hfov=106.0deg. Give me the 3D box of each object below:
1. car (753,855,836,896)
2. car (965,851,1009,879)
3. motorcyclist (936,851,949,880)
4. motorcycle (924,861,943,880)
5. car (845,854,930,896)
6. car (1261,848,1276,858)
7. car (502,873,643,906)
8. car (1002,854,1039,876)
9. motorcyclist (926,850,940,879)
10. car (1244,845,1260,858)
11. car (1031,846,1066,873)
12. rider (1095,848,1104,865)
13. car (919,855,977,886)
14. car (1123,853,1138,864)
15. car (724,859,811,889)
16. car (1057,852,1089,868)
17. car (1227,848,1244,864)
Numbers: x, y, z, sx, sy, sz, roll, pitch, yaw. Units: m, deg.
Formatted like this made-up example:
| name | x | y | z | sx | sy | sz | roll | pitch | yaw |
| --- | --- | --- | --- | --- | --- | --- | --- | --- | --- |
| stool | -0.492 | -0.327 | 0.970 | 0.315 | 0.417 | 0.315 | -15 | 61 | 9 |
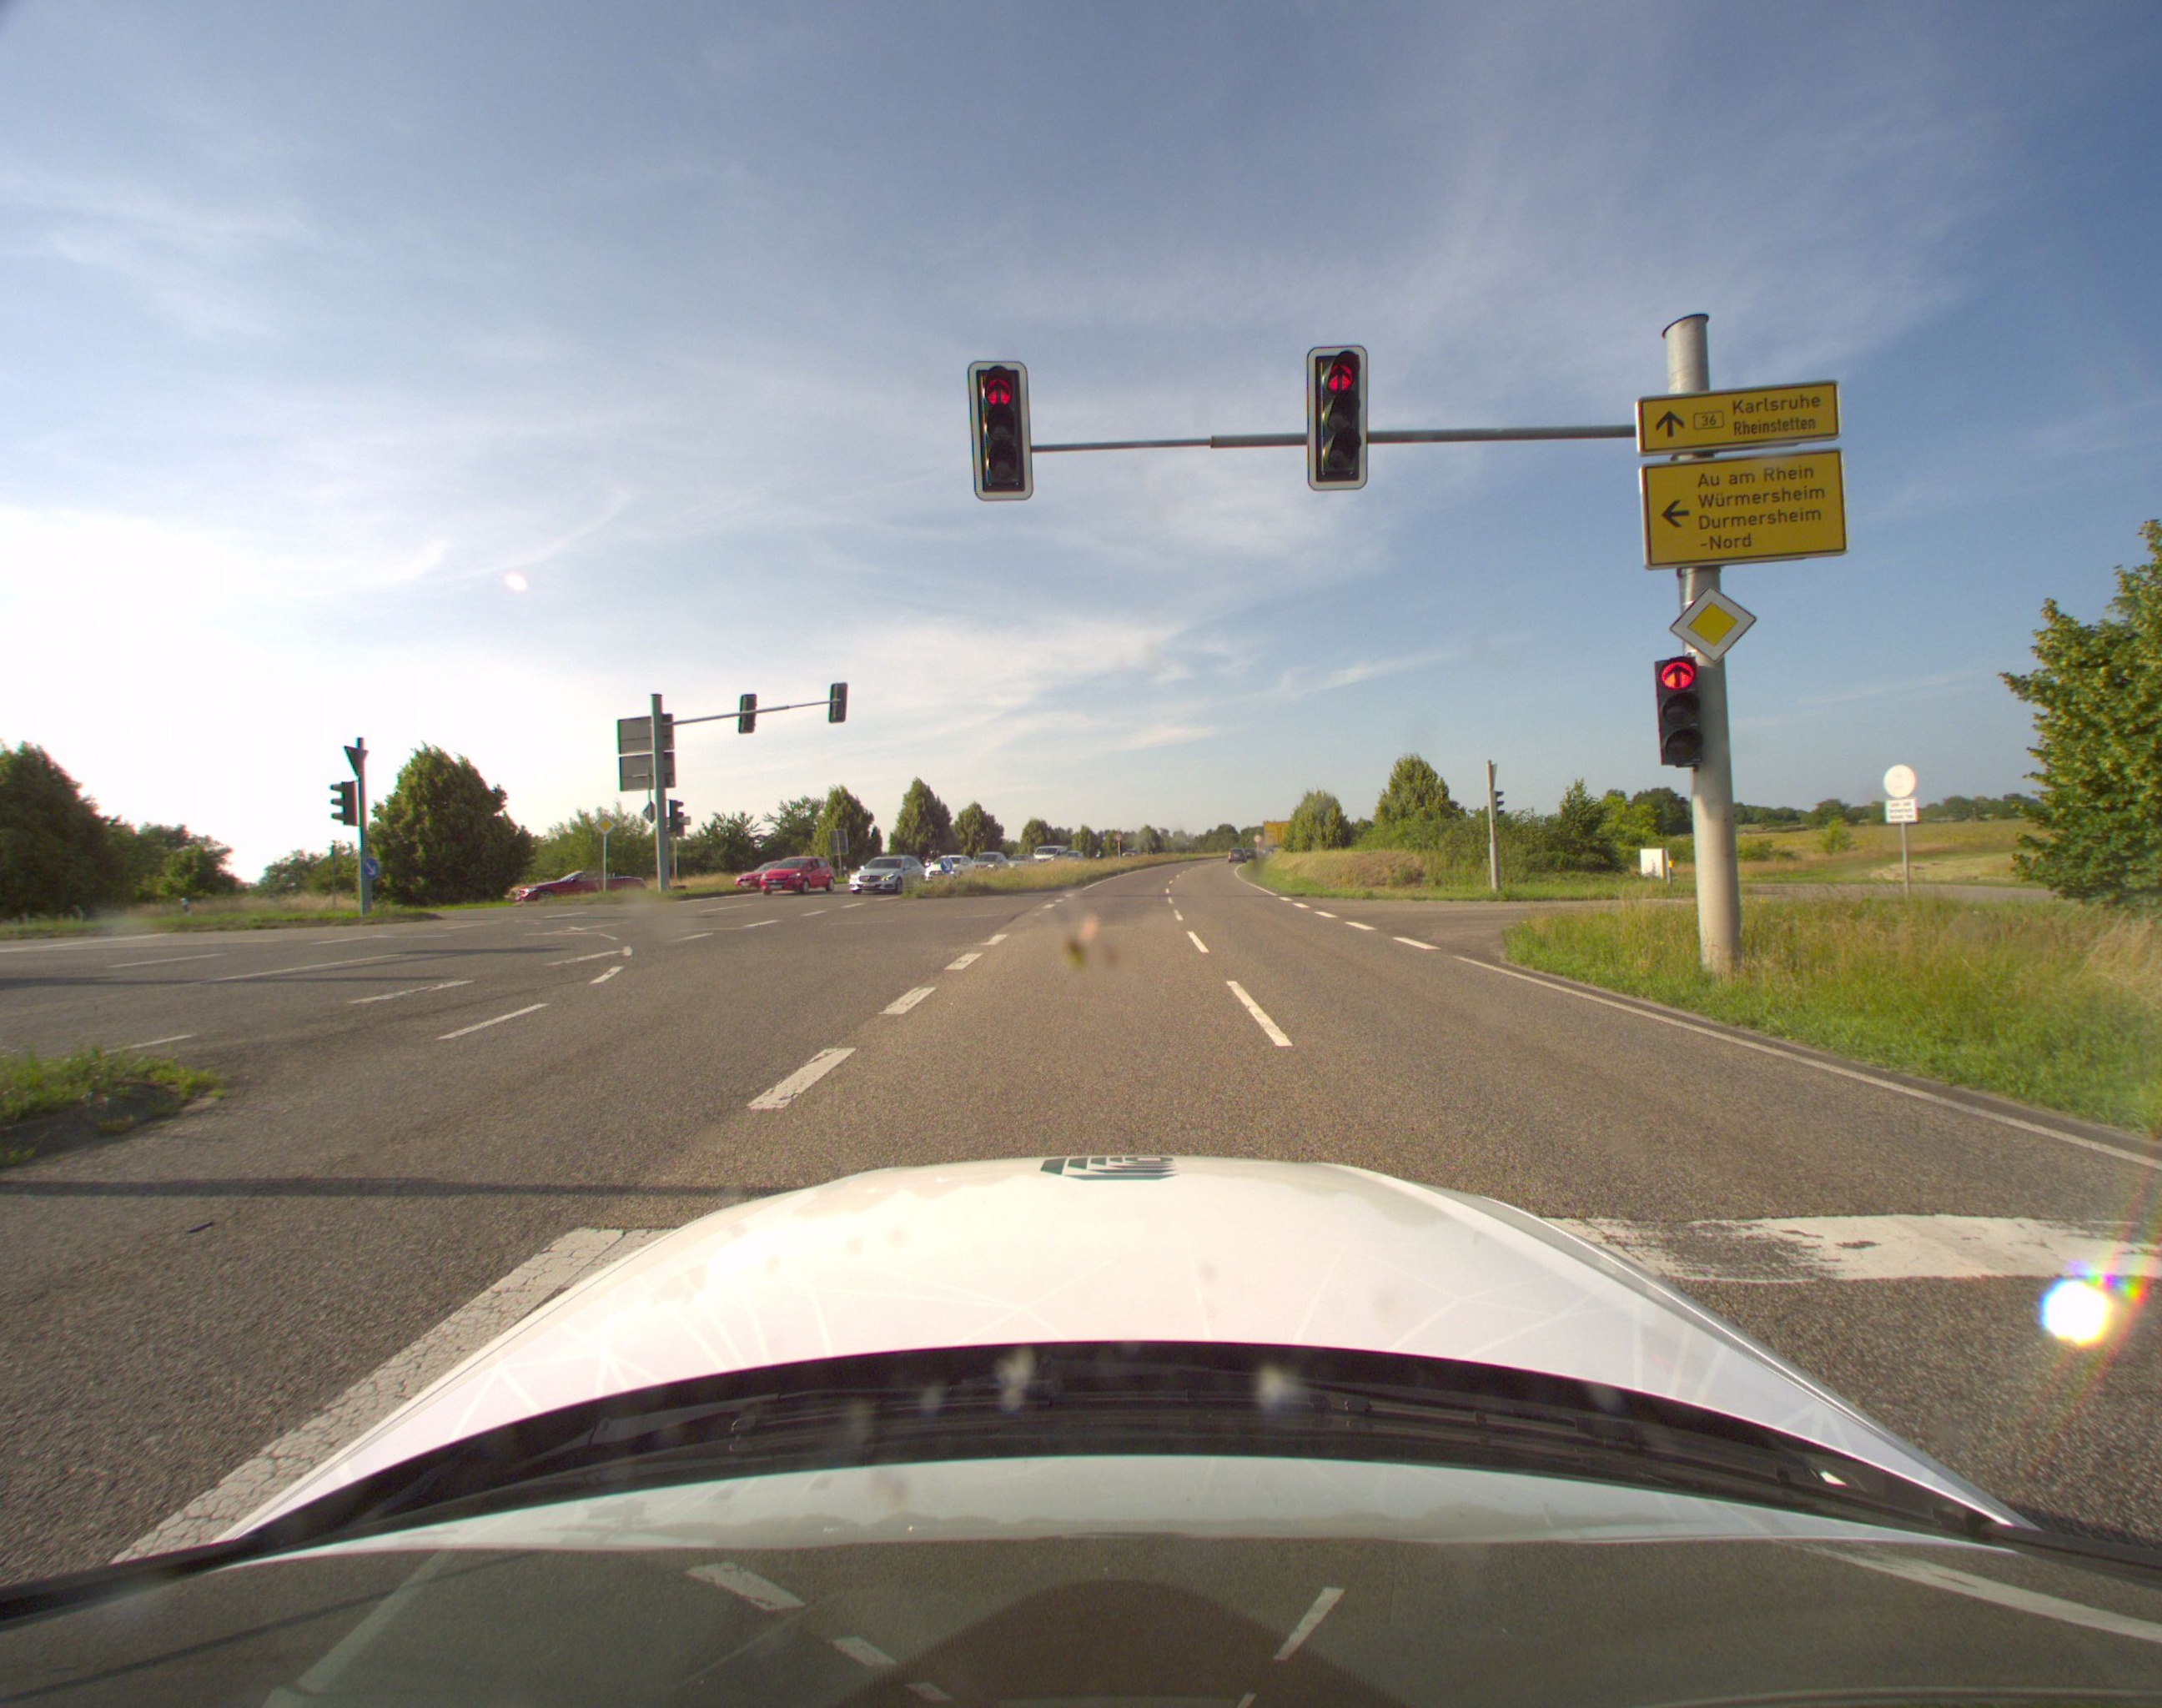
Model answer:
| name | x | y | z | sx | sy | sz | roll | pitch | yaw |
| --- | --- | --- | --- | --- | --- | --- | --- | --- | --- |
| car | -11.375 | 0.811 | 32.635 | 1.713 | 1.488 | 3.808 | -2 | 0 | 4 |
| car | -5.658 | 0.656 | 49.514 | 1.777 | 1.568 | 4.058 | -2 | 0 | 6 |
| motorcyclist | -8.961 | 0.758 | 52.786 | 0.660 | 1.817 | 0.605 | -2 | 0 | -1 |
| motorcycle | -8.967 | 0.973 | 49.530 | 0.870 | 1.097 | 1.468 | -2 | 0 | 0 |
| car | -7.567 | 0.781 | 32.366 | 1.777 | 1.488 | 4.659 | -2 | 0 | 6 |
| car | 28.784 | -0.215 | 124.906 | 1.758 | 1.492 | 4.004 | -1 | 0 | 18 |
| car | -20.780 | 1.435 | 33.426 | 1.974 | 1.101 | 4.505 | -2 | 0 | 41 |
| car | -4.074 | 0.739 | 55.859 | 1.777 | 1.385 | 4.058 | -2 | 0 | 6 |
| motorcyclist | -9.023 | 0.637 | 49.596 | 0.660 | 1.747 | 0.605 | -2 | 0 | -1 |
| car | 22.616 | -0.310 | 107.753 | 1.796 | 1.565 | 4.549 | -1 | 0 | 15 |
| car | -2.553 | 0.435 | 65.193 | 1.913 | 2.078 | 4.255 | -2 | 0 | 10 |
| rider | 2.264 | 0.324 | 101.352 | 0.861 | 2.013 | 0.775 | -2 | 0 | 17 |
| car | -6.698 | 0.780 | 41.543 | 1.777 | 1.433 | 4.316 | -2 | 0 | 6 |
| car | 6.864 | 0.609 | 113.363 | 1.395 | 1.402 | 3.435 | -2 | 0 | 14 |
| car | -15.361 | 0.952 | 40.190 | 1.645 | 1.326 | 4.233 | -2 | 0 | 19 |
| car | -0.670 | 0.504 | 73.367 | 1.772 | 1.385 | 4.068 | -2 | 0 | 15 |
| car | 16.841 | 0.244 | 88.940 | 1.773 | 1.605 | 4.207 | -1 | -1 | 10 |
